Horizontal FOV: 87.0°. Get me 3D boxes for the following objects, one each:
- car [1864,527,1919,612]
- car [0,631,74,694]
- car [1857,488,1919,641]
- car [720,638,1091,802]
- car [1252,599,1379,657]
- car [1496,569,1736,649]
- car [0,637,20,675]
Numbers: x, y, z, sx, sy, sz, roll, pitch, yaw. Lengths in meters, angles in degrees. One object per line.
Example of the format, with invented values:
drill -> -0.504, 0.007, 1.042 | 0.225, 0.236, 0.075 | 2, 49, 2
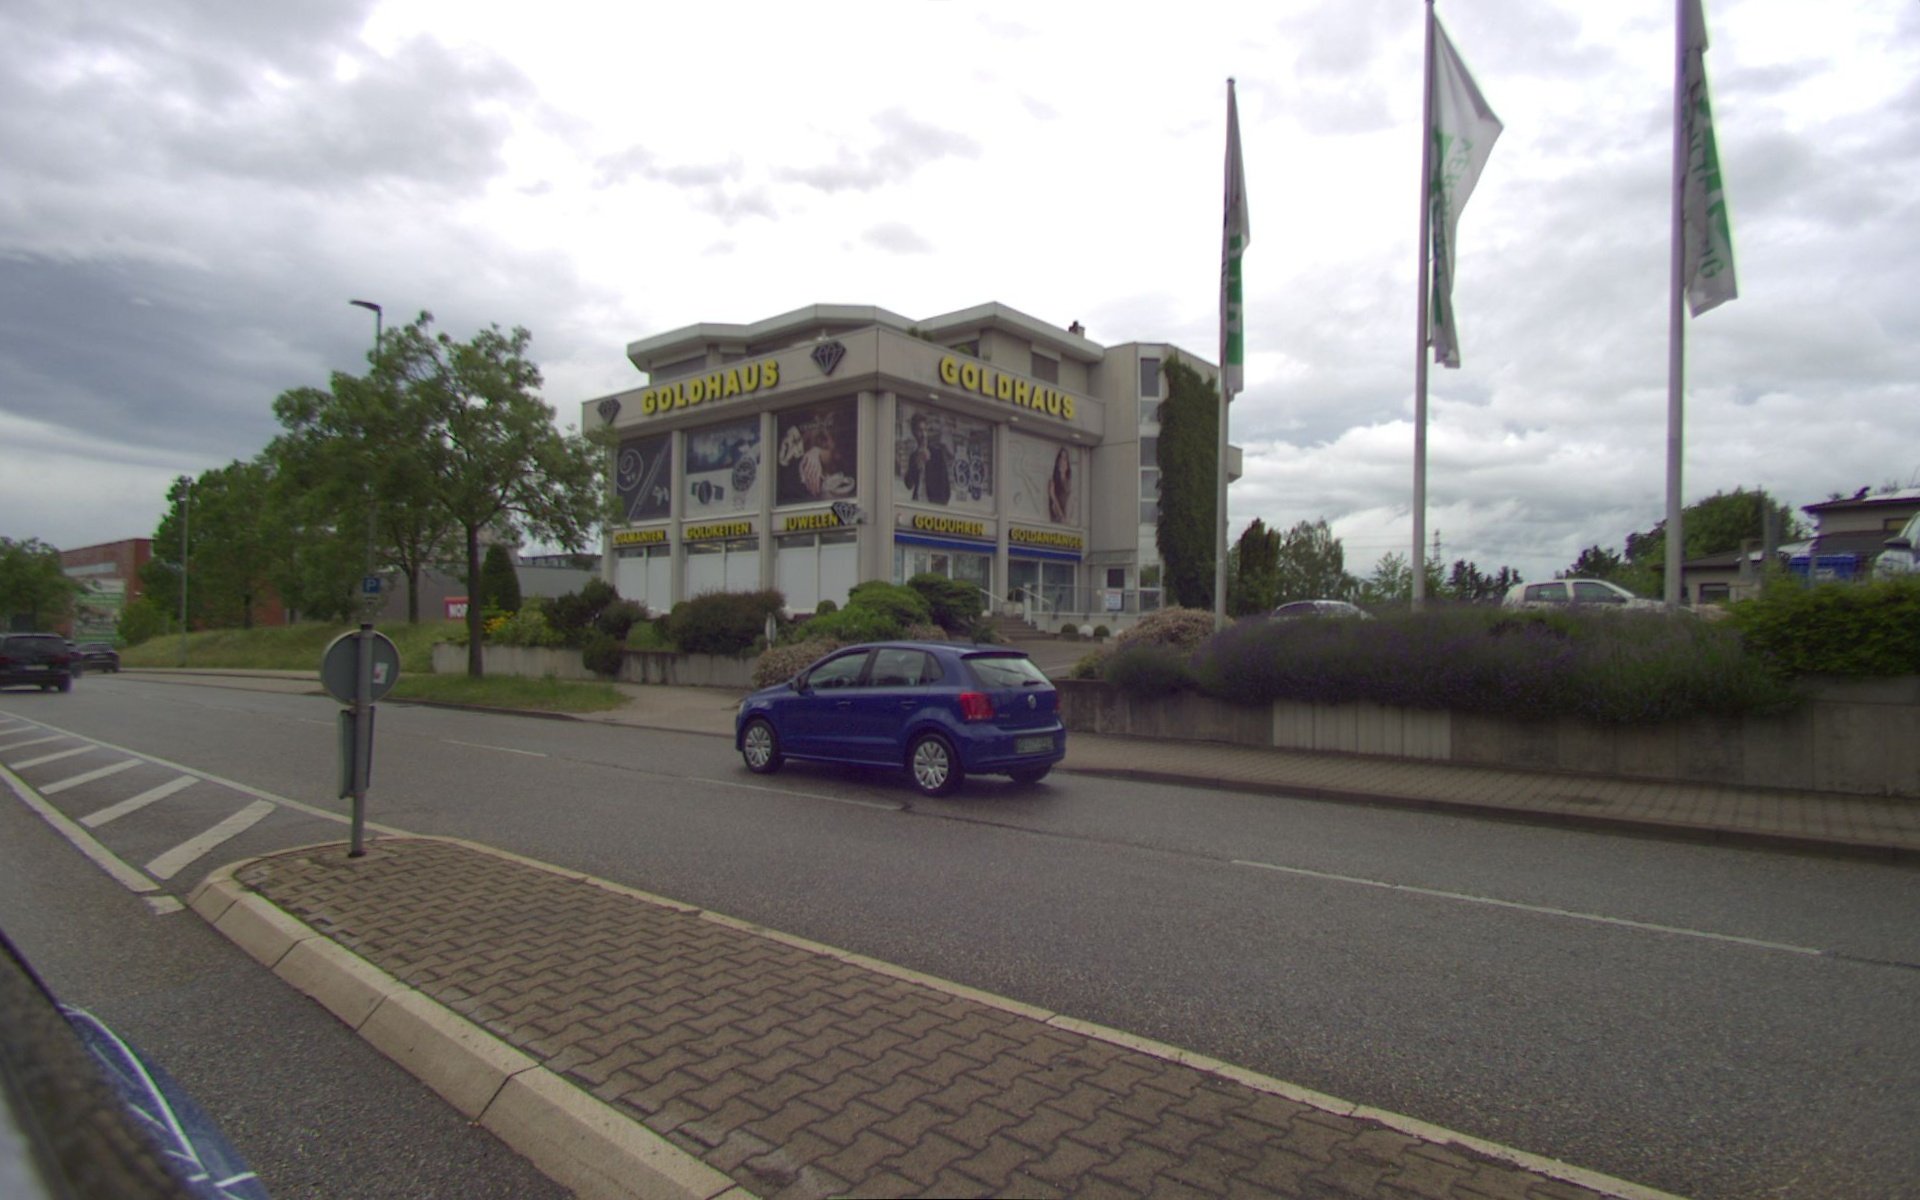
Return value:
car -> 19.153, -0.563, 19.719 | 1.871, 1.494, 3.791 | -2, -2, 36
car -> -26.971, 1.756, 28.802 | 4.140, 1.690, 1.740 | -2, -4, 36
car -> 10.979, -0.334, 10.682 | 1.737, 1.494, 3.794 | -2, -2, 34
car -> -0.665, 1.114, 10.457 | 3.762, 1.392, 1.617 | -2, -4, 40
car -> 9.940, 0.801, 28.639 | 1.846, 1.524, 4.007 | 0, -2, -5
car -> 13.675, 0.261, 21.240 | 4.001, 1.524, 1.656 | -2, -4, 42
car -> -52.871, 3.051, 55.200 | 4.895, 1.998, 1.777 | -2, -4, 41
